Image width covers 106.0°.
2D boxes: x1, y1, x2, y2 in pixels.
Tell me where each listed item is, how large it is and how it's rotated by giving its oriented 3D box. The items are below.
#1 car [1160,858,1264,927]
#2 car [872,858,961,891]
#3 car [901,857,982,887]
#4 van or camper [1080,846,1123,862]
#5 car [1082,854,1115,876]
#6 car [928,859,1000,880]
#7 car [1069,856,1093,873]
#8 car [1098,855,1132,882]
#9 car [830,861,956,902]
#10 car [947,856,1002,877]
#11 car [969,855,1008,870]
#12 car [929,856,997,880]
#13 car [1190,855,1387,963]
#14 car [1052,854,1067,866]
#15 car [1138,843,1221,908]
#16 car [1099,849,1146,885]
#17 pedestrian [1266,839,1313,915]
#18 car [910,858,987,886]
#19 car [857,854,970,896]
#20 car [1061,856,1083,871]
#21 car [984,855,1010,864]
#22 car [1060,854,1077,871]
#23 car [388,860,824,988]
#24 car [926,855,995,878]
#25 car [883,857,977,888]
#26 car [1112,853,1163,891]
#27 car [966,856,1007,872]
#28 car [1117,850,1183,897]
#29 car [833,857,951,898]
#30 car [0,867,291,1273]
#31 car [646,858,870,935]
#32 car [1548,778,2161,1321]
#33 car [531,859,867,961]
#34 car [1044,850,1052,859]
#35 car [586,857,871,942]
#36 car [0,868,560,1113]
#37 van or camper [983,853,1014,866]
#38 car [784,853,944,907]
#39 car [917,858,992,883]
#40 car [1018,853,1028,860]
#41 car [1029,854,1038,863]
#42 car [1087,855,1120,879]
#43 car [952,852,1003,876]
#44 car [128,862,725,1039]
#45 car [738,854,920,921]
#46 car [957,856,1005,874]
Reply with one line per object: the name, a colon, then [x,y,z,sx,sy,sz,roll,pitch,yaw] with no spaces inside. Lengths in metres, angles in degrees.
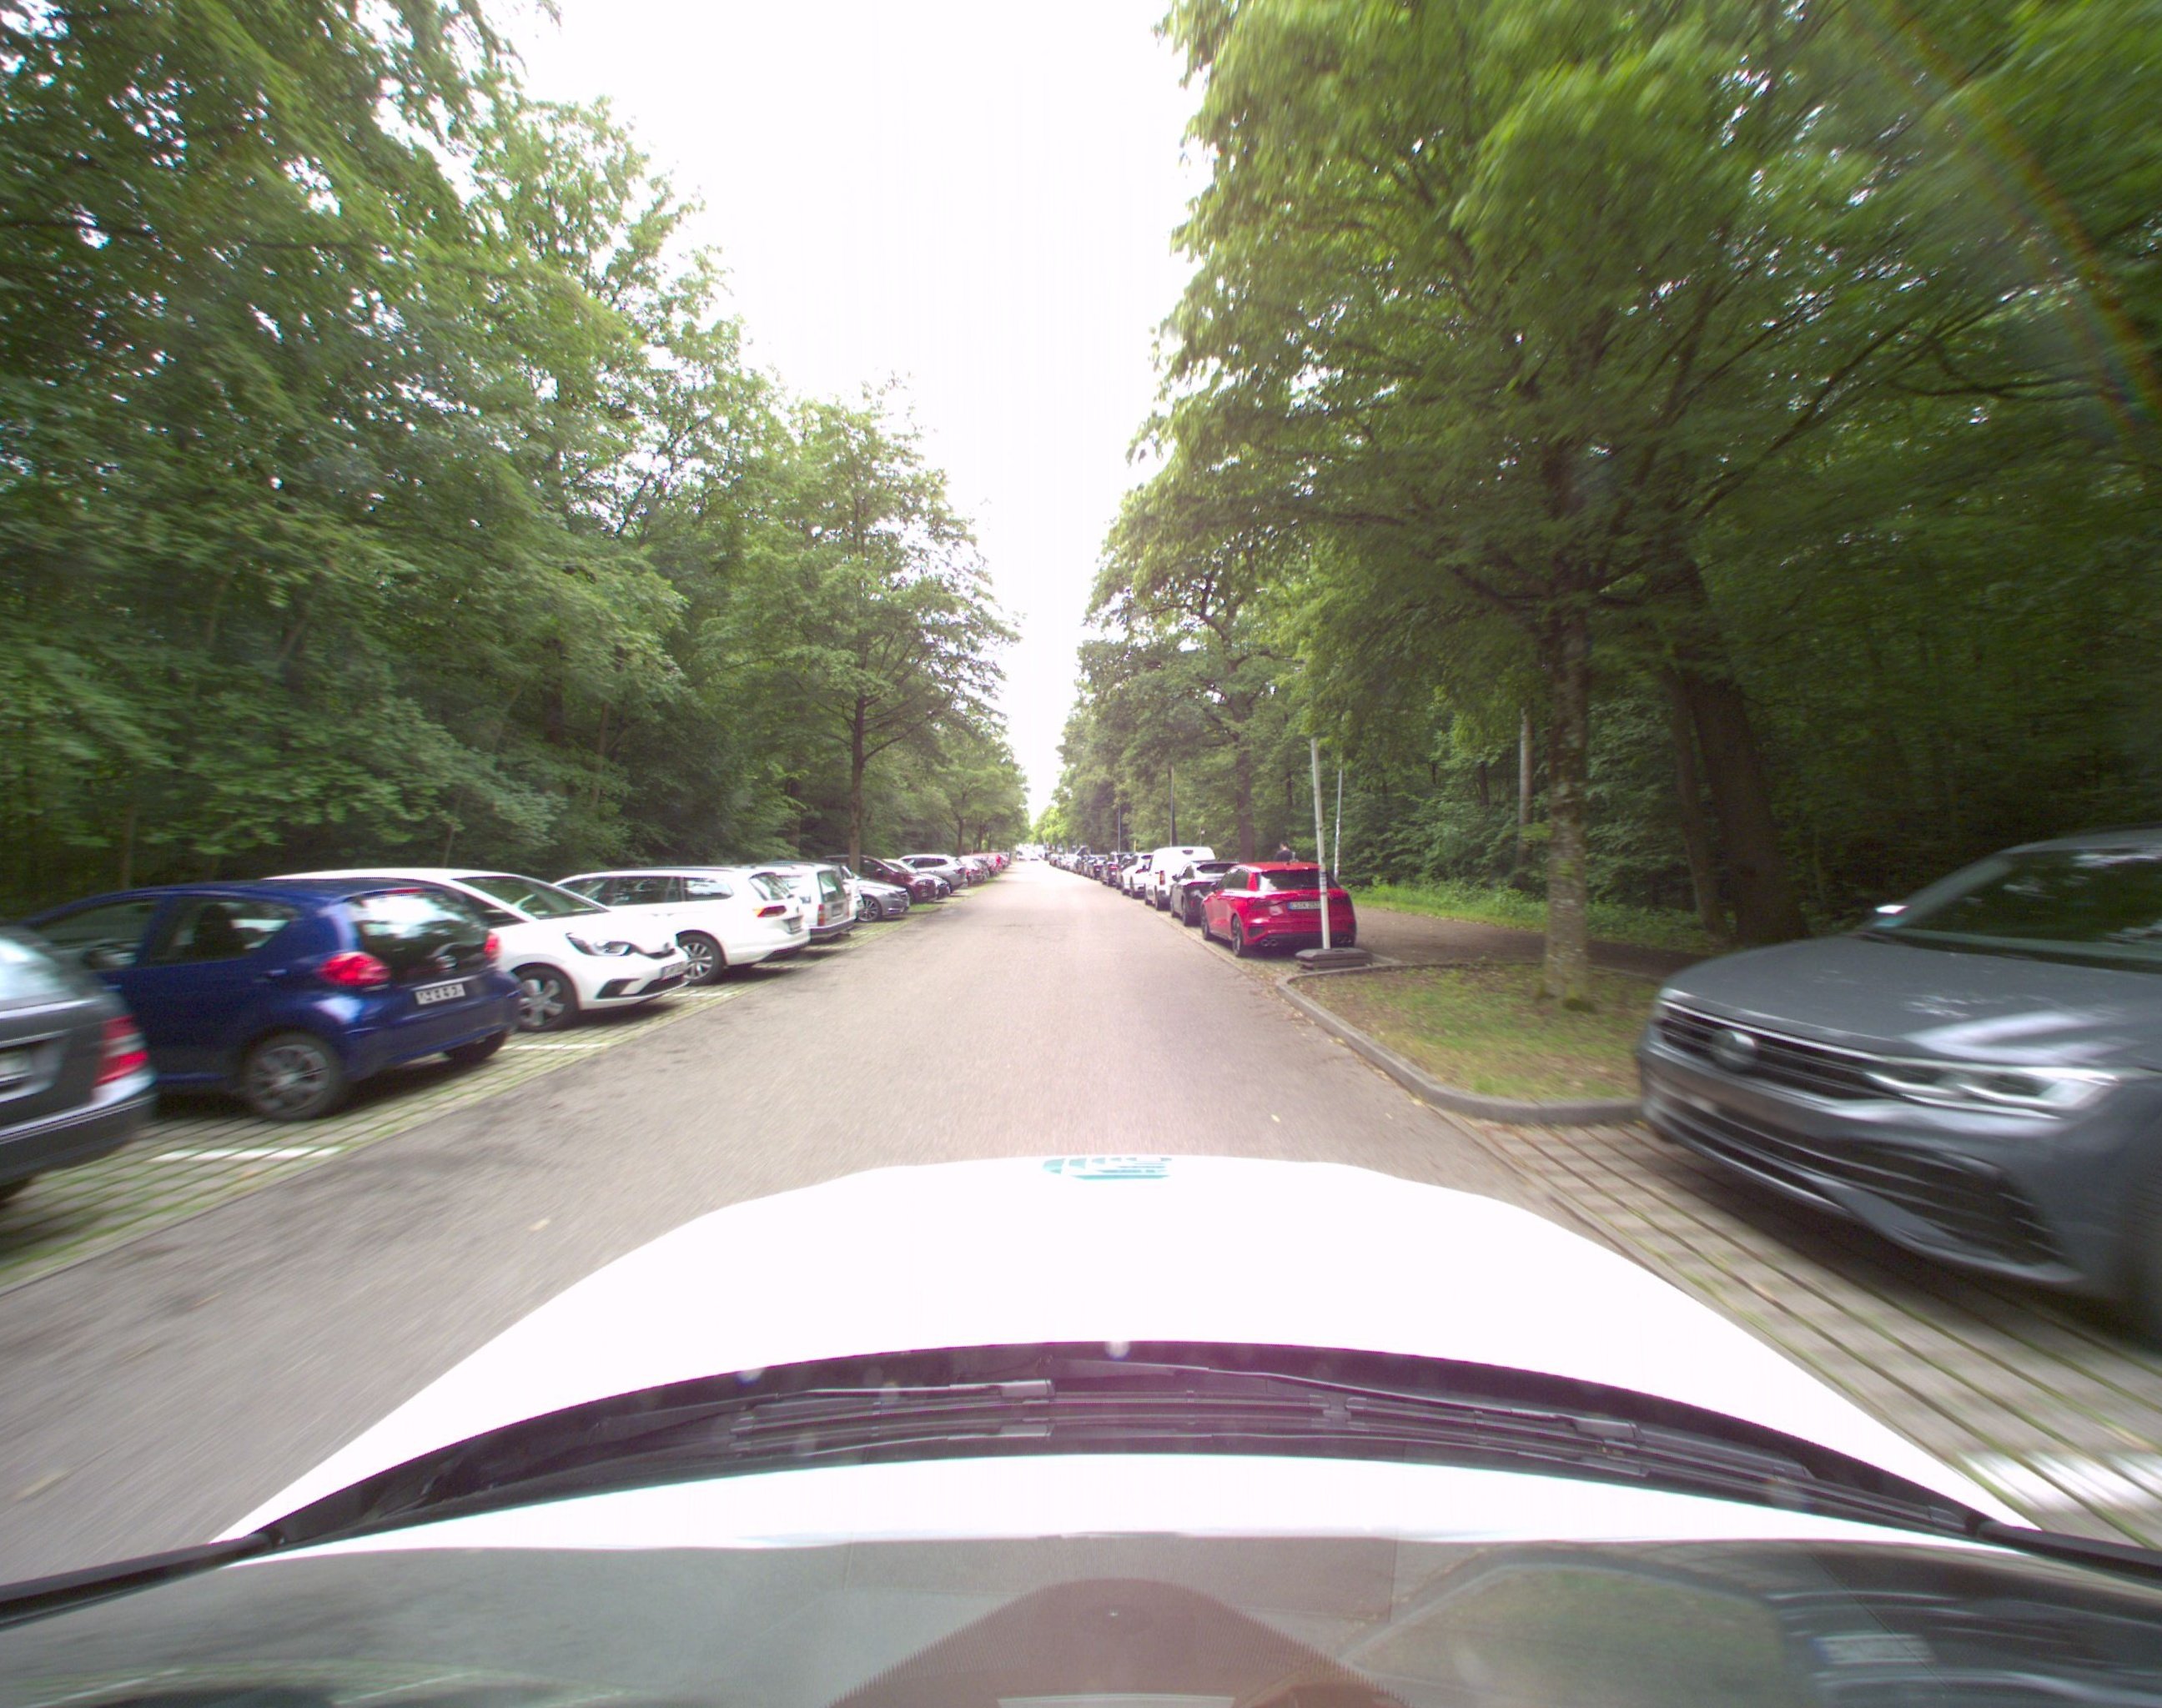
car: [2.966,0.821,19.344,1.720,1.422,4.282,0,0,-1]
car: [-7.626,0.950,38.033,3.859,1.451,1.657,0,0,-6]
car: [-7.306,0.927,43.094,4.084,1.523,1.925,0,0,-7]
van or camper: [3.687,-0.004,148.332,7.345,2.888,2.634,0,3,-19]
car: [1.223,0.739,58.861,1.974,1.537,4.614,0,0,-4]
car: [-7.894,1.054,55.389,4.724,1.343,1.984,0,0,-5]
car: [-0.053,0.976,76.436,1.934,1.475,3.985,0,0,-5]
car: [1.969,0.829,48.005,1.595,1.504,4.085,0,0,-4]
car: [-6.440,0.939,28.234,3.979,1.364,1.784,0,0,-4]
car: [-7.931,0.918,60.557,3.985,1.530,1.994,0,0,-8]
car: [-9.941,0.903,87.554,3.978,1.640,1.732,0,0,-4]
car: [-7.680,0.904,53.052,4.294,1.449,1.751,0,0,-9]
car: [3.202,0.760,13.716,1.988,1.479,4.969,0,0,-1]
car: [-2.867,0.830,107.431,1.917,1.520,3.883,0,0,-3]
car: [2.871,0.591,24.666,1.741,1.780,4.546,0,0,-4]
car: [2.095,0.645,42.428,1.886,1.747,4.942,0,0,-4]
pedestrian: [4.805,0.521,18.855,0.815,1.726,1.003,0,0,-2]
car: [-7.369,0.991,45.629,4.102,1.480,1.993,0,0,-5]
car: [-6.706,0.814,32.985,4.214,1.633,2.027,0,0,-3]
car: [-0.944,0.954,82.255,1.721,1.494,3.762,0,0,-9]
car: [-12.118,0.804,117.600,3.585,1.361,1.818,0,0,-16]
car: [-1.355,0.888,87.985,1.707,1.728,3.995,0,0,-4]
car: [-6.031,0.837,10.924,4.555,1.447,2.082,-1,0,-5]
car: [-8.536,0.866,58.051,4.724,1.595,1.956,0,0,-5]
car: [-7.476,0.920,40.649,4.389,1.488,1.836,0,0,-2]
car: [2.467,0.741,36.719,1.747,1.607,4.441,0,0,-4]
car: [-9.303,0.944,80.259,3.824,1.536,1.868,0,0,-4]
car: [2.530,0.675,30.861,1.782,1.662,4.710,0,0,-4]
car: [-7.041,0.874,30.630,4.011,1.465,1.798,0,0,-1]
car: [-6.123,0.821,3.109,4.249,1.486,2.059,0,0,2]
car: [-6.944,0.878,17.917,4.230,1.550,1.843,0,0,-7]
car: [4.664,0.594,3.475,4.251,1.666,1.958,0,0,0]
car: [-6.019,0.849,13.270,4.549,1.486,1.869,-1,0,-2]
car: [-6.581,0.086,162.050,1.625,1.415,3.406,1,3,-5]
car: [-6.498,0.803,15.463,4.552,1.486,1.939,0,0,-3]
car: [-5.887,0.846,5.810,3.210,1.444,1.679,0,0,-2]
van or camper: [-13.066,0.900,128.698,4.487,1.868,1.908,0,3,-19]
car: [-6.703,0.783,25.536,4.504,1.584,1.925,0,0,-3]
car: [-7.430,0.954,48.087,4.099,1.431,1.962,0,0,-2]
car: [-11.290,0.557,159.082,1.735,1.162,3.409,1,3,-2]
car: [-9.289,0.875,158.480,1.688,1.415,3.149,1,3,-5]
car: [1.433,0.810,53.016,1.634,1.477,4.143,0,0,-6]
car: [-8.309,0.779,65.529,3.983,1.816,2.110,0,0,-7]
car: [-6.194,0.854,8.213,4.357,1.486,1.889,-1,-1,-4]
car: [-6.232,0.805,20.546,4.025,1.555,1.917,0,0,-4]
car: [-8.607,0.933,70.361,3.979,1.474,2.112,0,0,-4]
